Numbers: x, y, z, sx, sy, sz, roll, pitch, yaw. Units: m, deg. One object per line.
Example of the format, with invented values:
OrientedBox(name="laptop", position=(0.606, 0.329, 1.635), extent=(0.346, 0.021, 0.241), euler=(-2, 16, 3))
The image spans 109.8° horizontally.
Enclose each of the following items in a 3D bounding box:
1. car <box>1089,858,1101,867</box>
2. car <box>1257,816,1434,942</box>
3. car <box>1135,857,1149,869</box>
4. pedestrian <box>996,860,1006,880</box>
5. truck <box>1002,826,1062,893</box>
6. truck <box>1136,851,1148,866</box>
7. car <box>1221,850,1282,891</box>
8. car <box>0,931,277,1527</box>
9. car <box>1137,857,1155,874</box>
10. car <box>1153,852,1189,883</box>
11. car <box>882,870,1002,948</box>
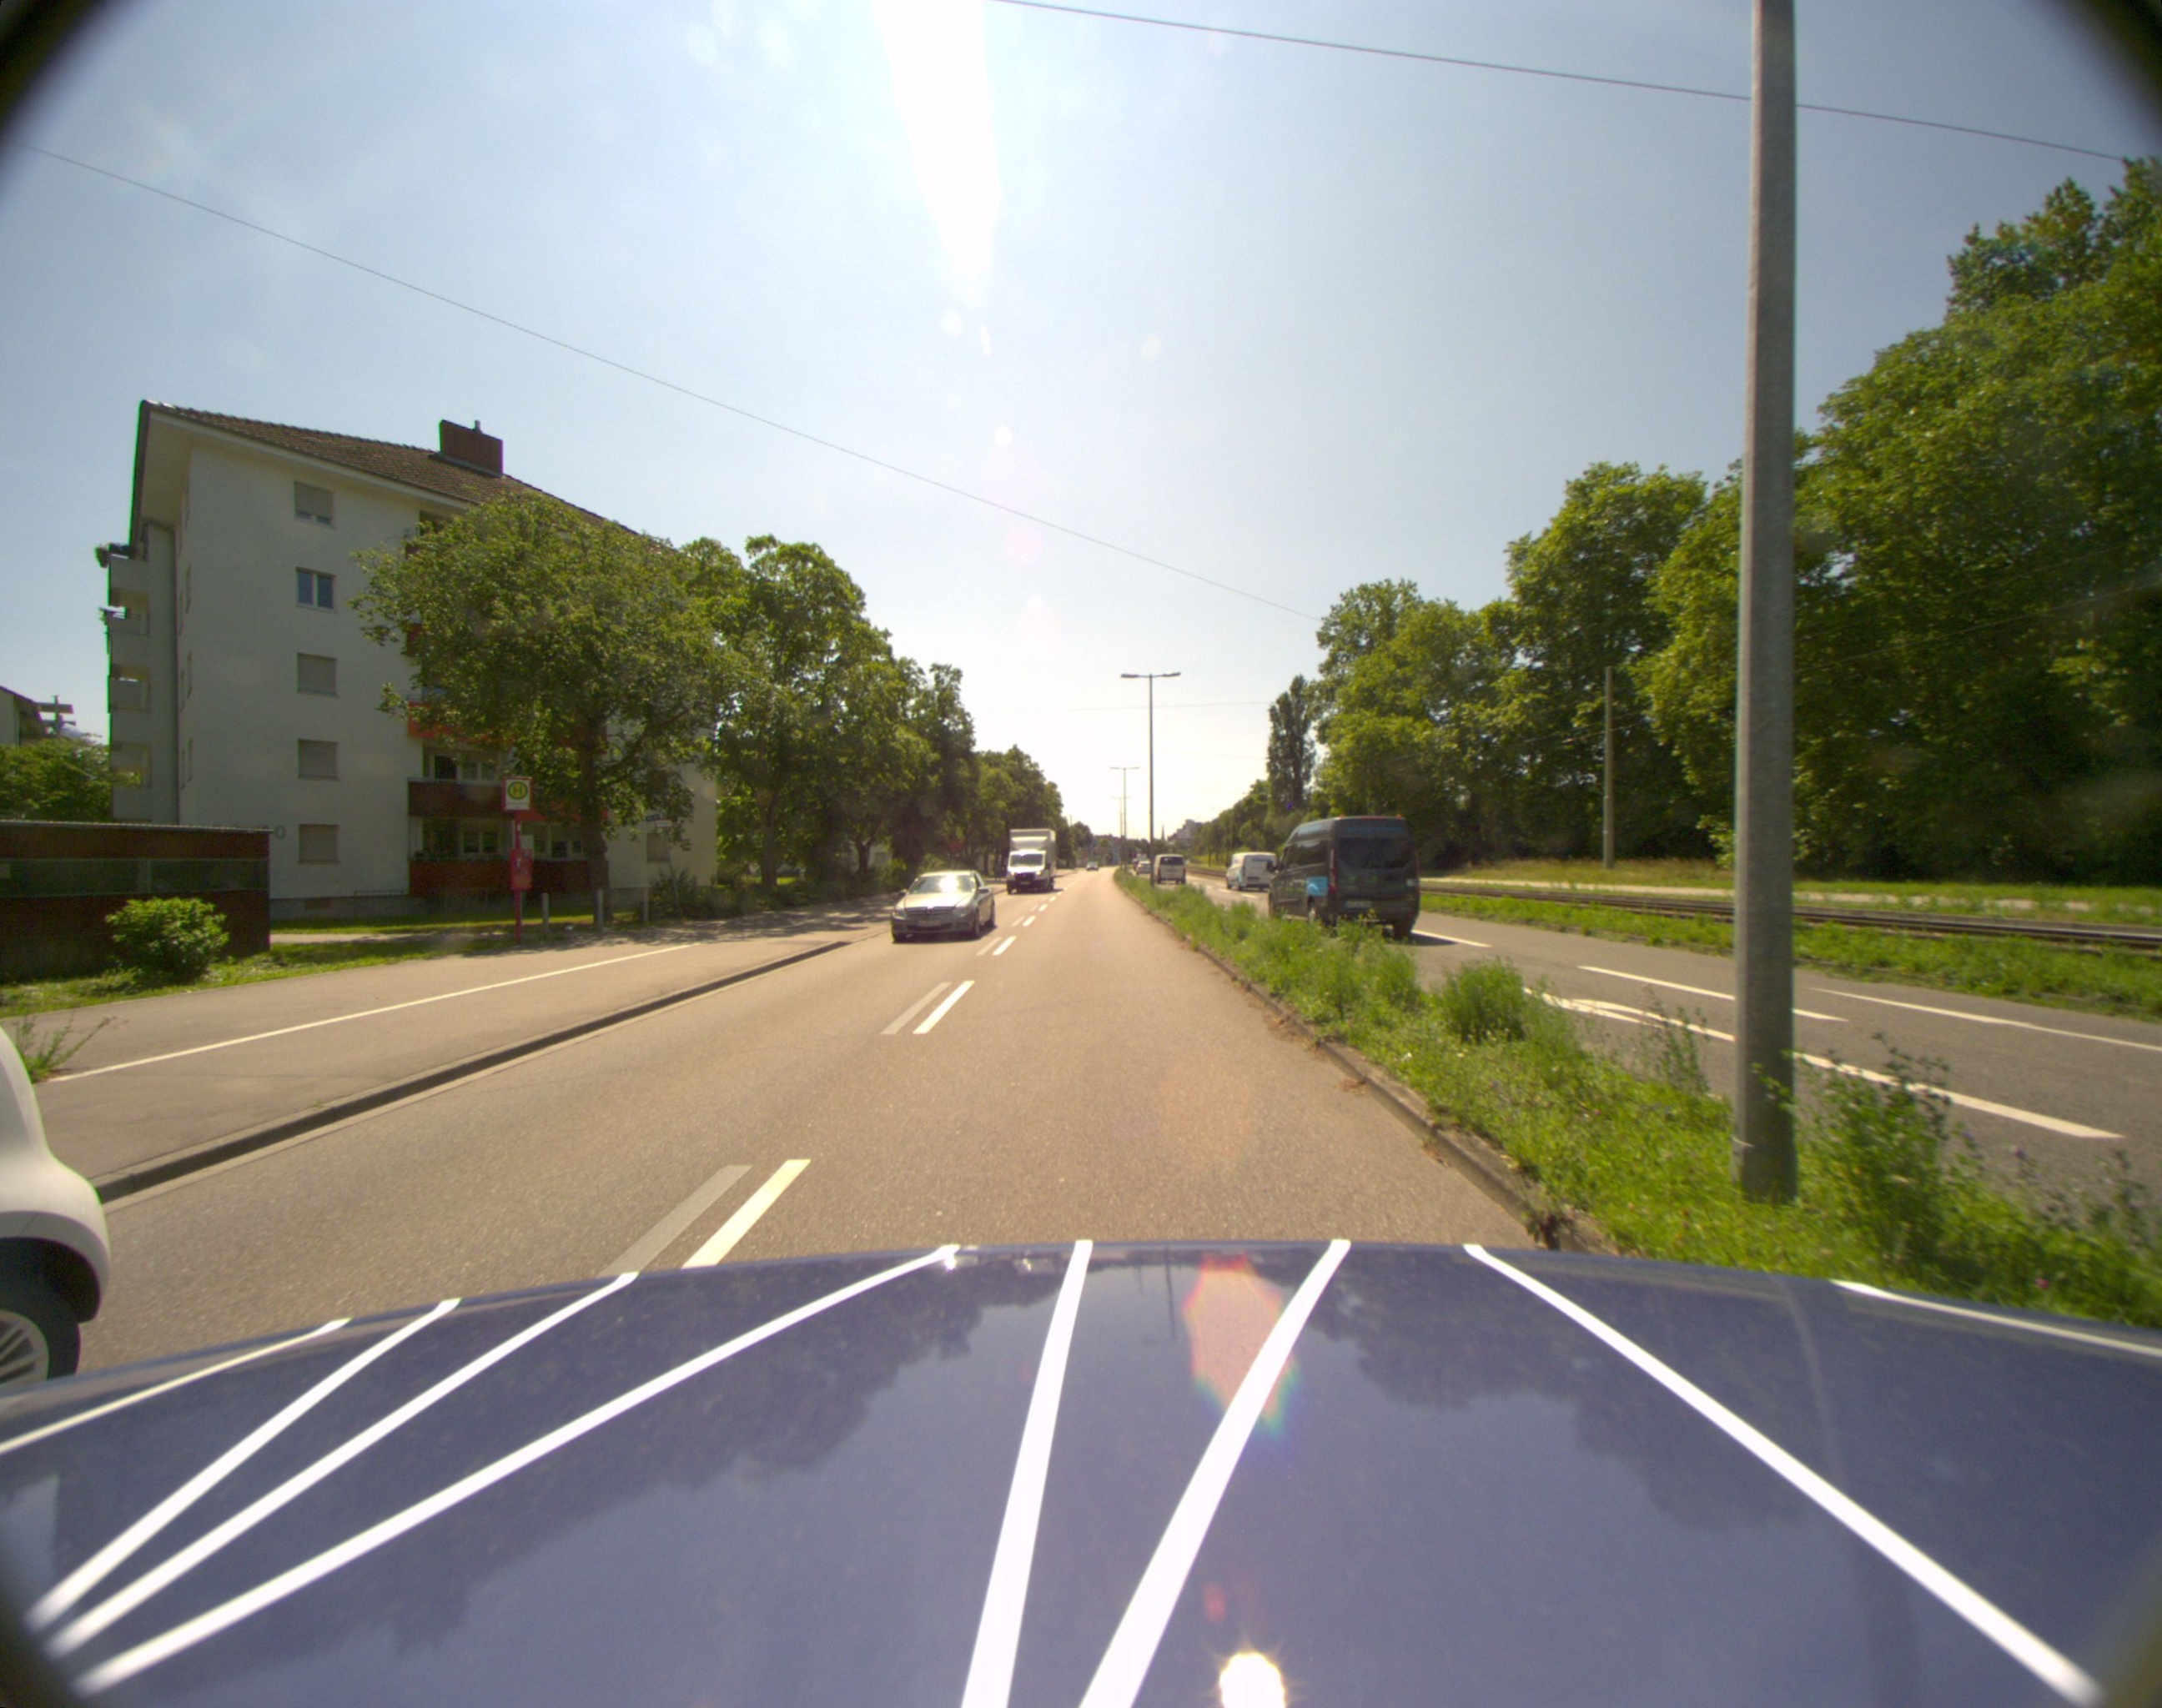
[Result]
OrientedBox(name="car", position=(2.272, 1.396, 126.253), extent=(1.829, 1.556, 4.000), euler=(-1, 0, 0))
OrientedBox(name="car", position=(5.577, 0.486, 16.934), extent=(1.999, 2.352, 5.372), euler=(0, 0, -1))
OrientedBox(name="car", position=(8.961, 1.264, 111.239), extent=(1.833, 1.703, 4.794), euler=(1, 0, 2))
OrientedBox(name="pedestrian", position=(-6.521, 1.306, 61.876), extent=(0.670, 1.634, 0.856), euler=(-1, 0, 2))
OrientedBox(name="truck", position=(-2.491, 0.264, 41.502), extent=(2.294, 3.259, 8.313), euler=(-1, 0, 3))
OrientedBox(name="truck", position=(11.503, 0.843, 142.659), extent=(2.086, 2.732, 5.548), euler=(0, 0, 3))
OrientedBox(name="car", position=(8.865, 0.826, 39.874), extent=(1.999, 2.001, 5.030), euler=(1, -1, -1))
OrientedBox(name="car", position=(-3.602, 1.002, 0.644), extent=(1.663, 1.441, 3.855), euler=(-2, 0, 1))
OrientedBox(name="car", position=(6.901, 1.228, 81.016), extent=(1.834, 1.728, 4.039), euler=(1, 0, 3))
OrientedBox(name="car", position=(5.969, 0.867, 50.806), extent=(1.834, 1.895, 5.567), euler=(1, 0, 1))
OrientedBox(name="car", position=(-2.994, 1.147, 17.195), extent=(1.903, 1.451, 3.971), euler=(-2, -1, 0))
